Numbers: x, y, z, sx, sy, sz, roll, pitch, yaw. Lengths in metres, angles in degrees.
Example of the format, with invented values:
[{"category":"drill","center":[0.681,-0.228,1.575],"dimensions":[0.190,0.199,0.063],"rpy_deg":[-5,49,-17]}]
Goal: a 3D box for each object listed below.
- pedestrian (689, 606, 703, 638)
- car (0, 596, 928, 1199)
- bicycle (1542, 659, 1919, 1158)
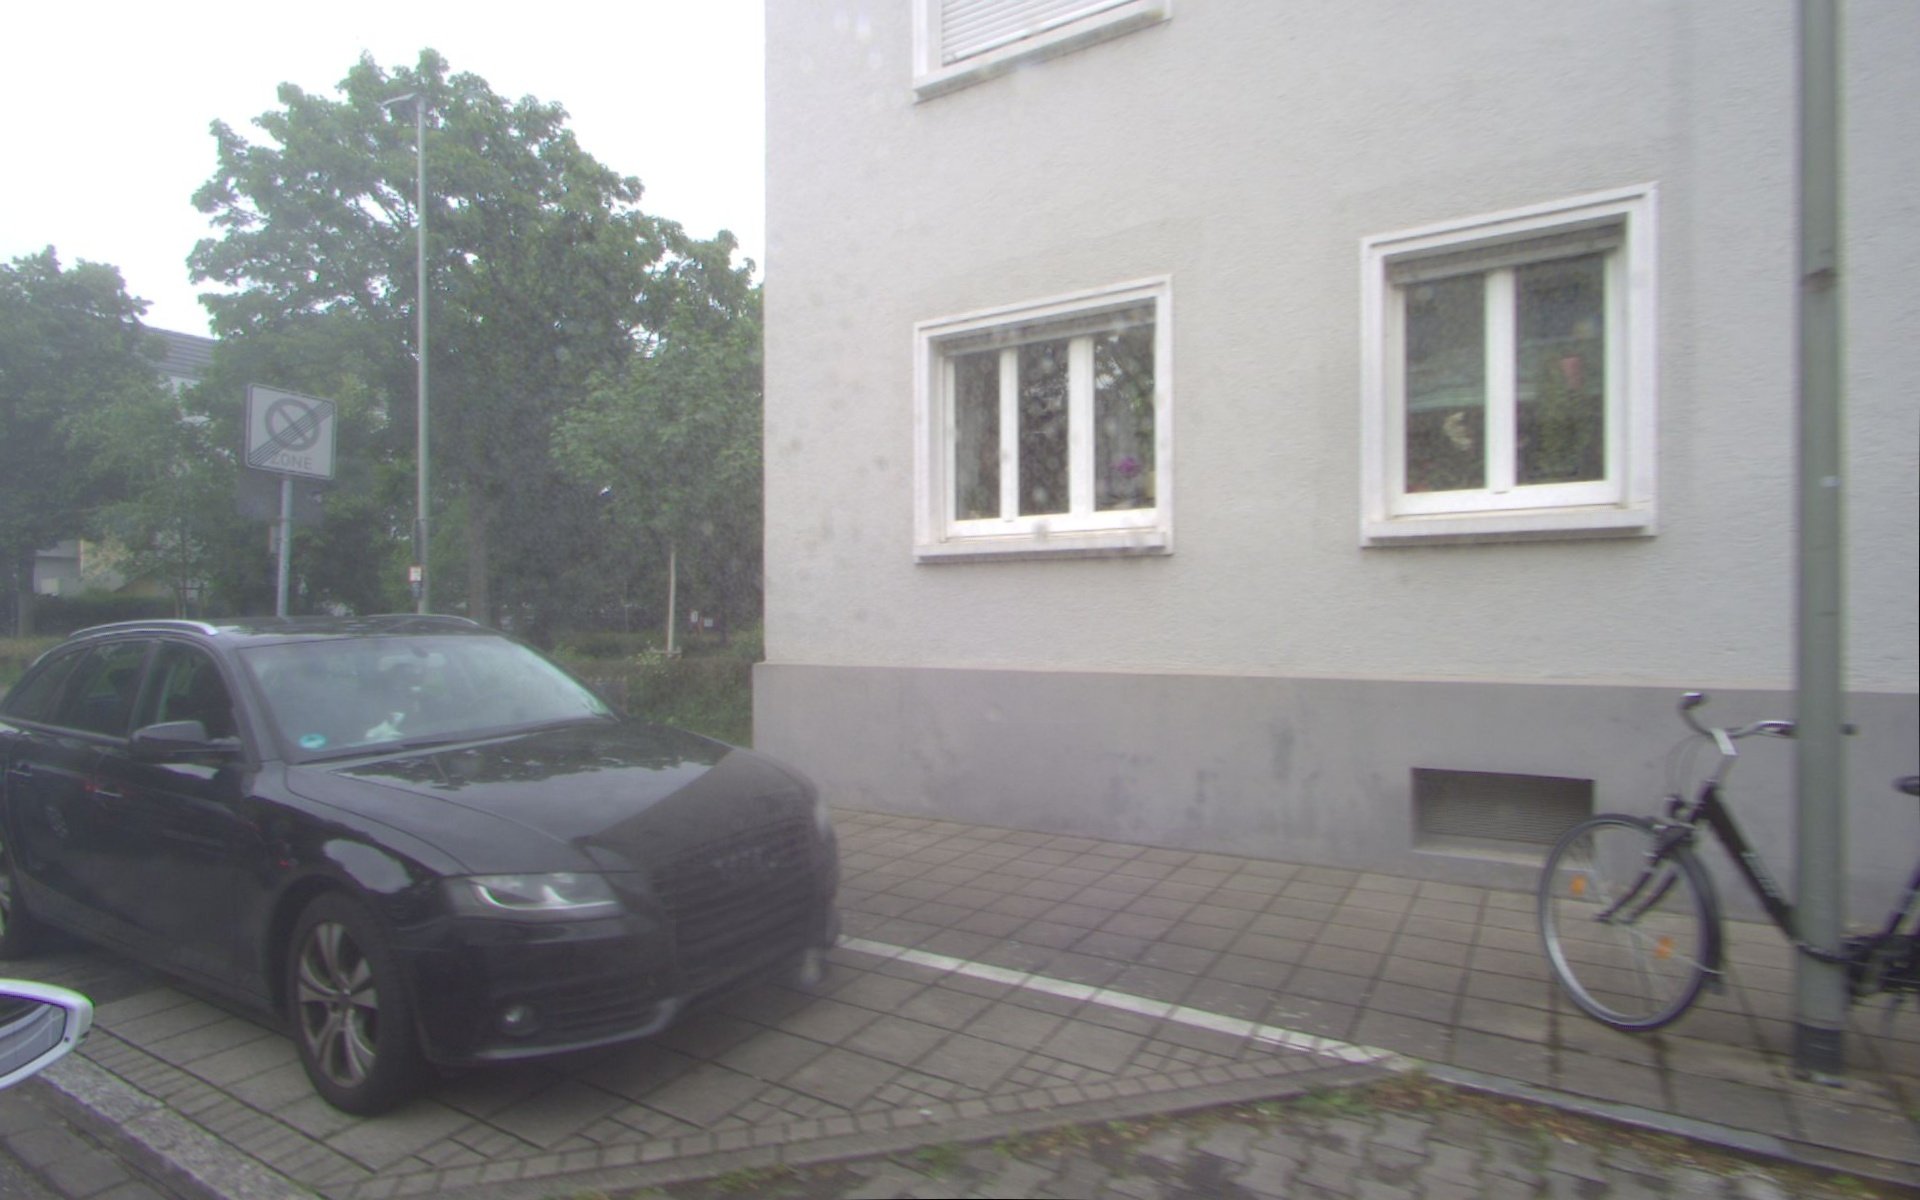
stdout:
[{"category":"pedestrian","center":[-15.092,1.242,57.305],"dimensions":[0.537,1.821,0.568],"rpy_deg":[1,0,42]},{"category":"car","center":[-2.592,0.754,4.277],"dimensions":[4.655,1.482,1.858],"rpy_deg":[-1,0,30]},{"category":"bicycle","center":[2.736,0.823,2.838],"dimensions":[1.867,1.216,0.747],"rpy_deg":[0,1,32]}]
